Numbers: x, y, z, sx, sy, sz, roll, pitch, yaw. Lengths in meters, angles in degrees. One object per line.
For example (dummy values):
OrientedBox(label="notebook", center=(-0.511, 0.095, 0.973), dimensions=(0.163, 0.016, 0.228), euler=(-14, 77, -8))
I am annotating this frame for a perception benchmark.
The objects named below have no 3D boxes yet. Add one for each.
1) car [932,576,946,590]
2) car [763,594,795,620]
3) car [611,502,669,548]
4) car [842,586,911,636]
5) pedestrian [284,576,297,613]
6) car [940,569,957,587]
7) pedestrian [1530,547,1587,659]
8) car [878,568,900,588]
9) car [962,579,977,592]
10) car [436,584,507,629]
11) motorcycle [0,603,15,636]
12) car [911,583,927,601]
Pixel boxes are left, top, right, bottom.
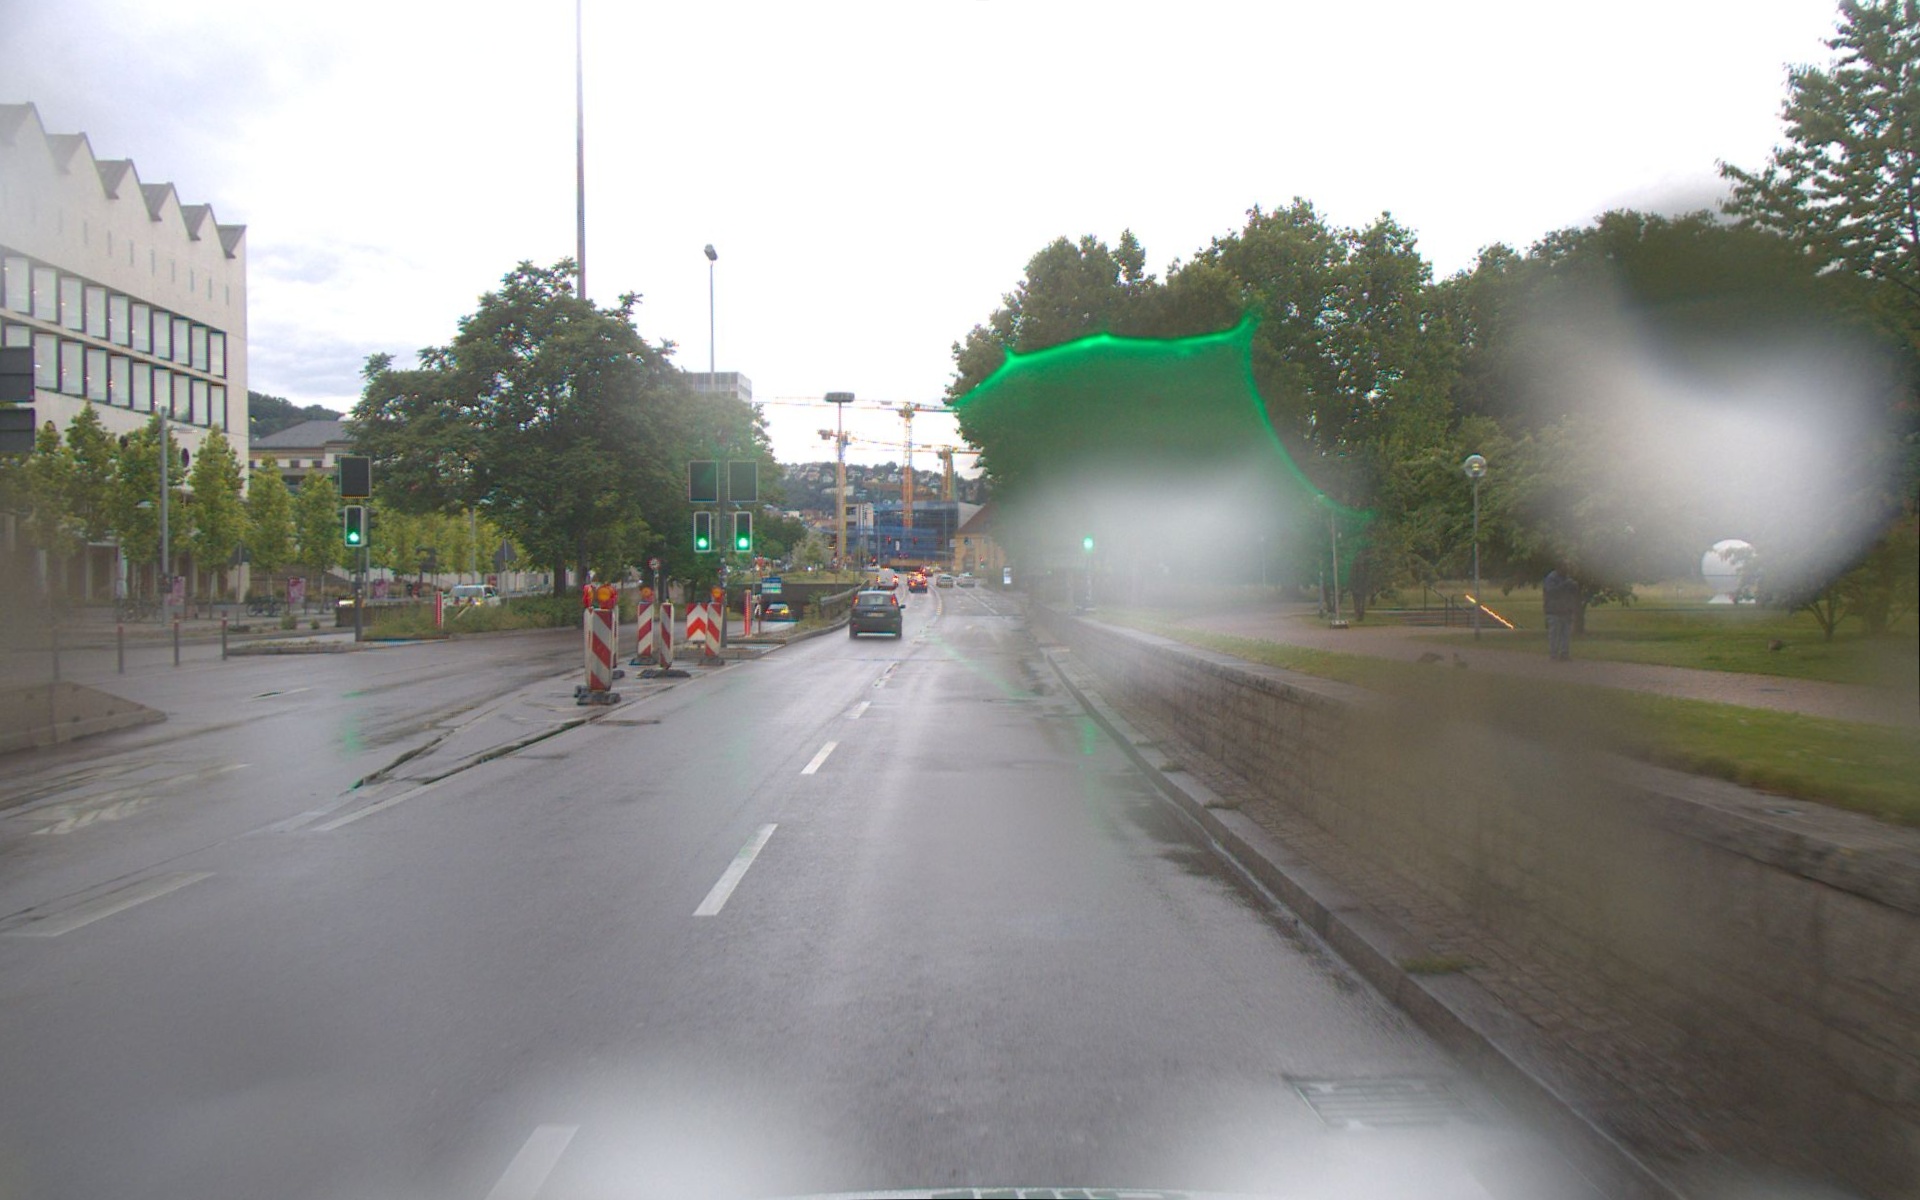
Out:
OrientedBox(label="car", center=(-2.659, -2.215, 213.348), dimensions=(1.677, 1.719, 3.849), euler=(-2, -1, 1))
OrientedBox(label="car", center=(-13.364, 0.514, 122.125), dimensions=(1.953, 1.812, 3.999), euler=(-1, 1, -1))
OrientedBox(label="car", center=(-12.742, -2.964, 66.038), dimensions=(1.955, 1.661, 3.994), euler=(0, 0, -7))
OrientedBox(label="car", center=(-2.656, 0.363, 51.982), dimensions=(1.809, 1.441, 3.832), euler=(-2, -1, -8))
OrientedBox(label="pedestrian", center=(-37.350, -0.327, 92.303), dimensions=(0.535, 2.049, 0.524), euler=(-1, -1, -37))
OrientedBox(label="car", center=(-1.485, -2.711, 207.163), dimensions=(1.947, 2.049, 3.998), euler=(-2, -1, -2))
OrientedBox(label="pedestrian", center=(9.777, 0.050, 27.042), dimensions=(0.583, 1.786, 0.725), euler=(-2, 1, -4))
OrientedBox(label="car", center=(-8.159, -2.549, 190.386), dimensions=(2.174, 2.048, 4.001), euler=(4, -1, 2))
OrientedBox(label="car", center=(1.234, -1.869, 212.568), dimensions=(1.952, 1.627, 4.000), euler=(-2, -1, 1))
OrientedBox(label="car", center=(-21.576, 0.308, 73.213), dimensions=(1.954, 1.872, 4.888), euler=(-2, -1, -4))
OrientedBox(label="motorcycle", center=(-34.722, 0.722, 58.904), dimensions=(1.814, 1.174, 0.423), euler=(-1, 0, -30))
OrientedBox(label="car", center=(-4.483, -0.859, 180.298), dimensions=(1.704, 1.802, 3.999), euler=(-2, -1, -1))
